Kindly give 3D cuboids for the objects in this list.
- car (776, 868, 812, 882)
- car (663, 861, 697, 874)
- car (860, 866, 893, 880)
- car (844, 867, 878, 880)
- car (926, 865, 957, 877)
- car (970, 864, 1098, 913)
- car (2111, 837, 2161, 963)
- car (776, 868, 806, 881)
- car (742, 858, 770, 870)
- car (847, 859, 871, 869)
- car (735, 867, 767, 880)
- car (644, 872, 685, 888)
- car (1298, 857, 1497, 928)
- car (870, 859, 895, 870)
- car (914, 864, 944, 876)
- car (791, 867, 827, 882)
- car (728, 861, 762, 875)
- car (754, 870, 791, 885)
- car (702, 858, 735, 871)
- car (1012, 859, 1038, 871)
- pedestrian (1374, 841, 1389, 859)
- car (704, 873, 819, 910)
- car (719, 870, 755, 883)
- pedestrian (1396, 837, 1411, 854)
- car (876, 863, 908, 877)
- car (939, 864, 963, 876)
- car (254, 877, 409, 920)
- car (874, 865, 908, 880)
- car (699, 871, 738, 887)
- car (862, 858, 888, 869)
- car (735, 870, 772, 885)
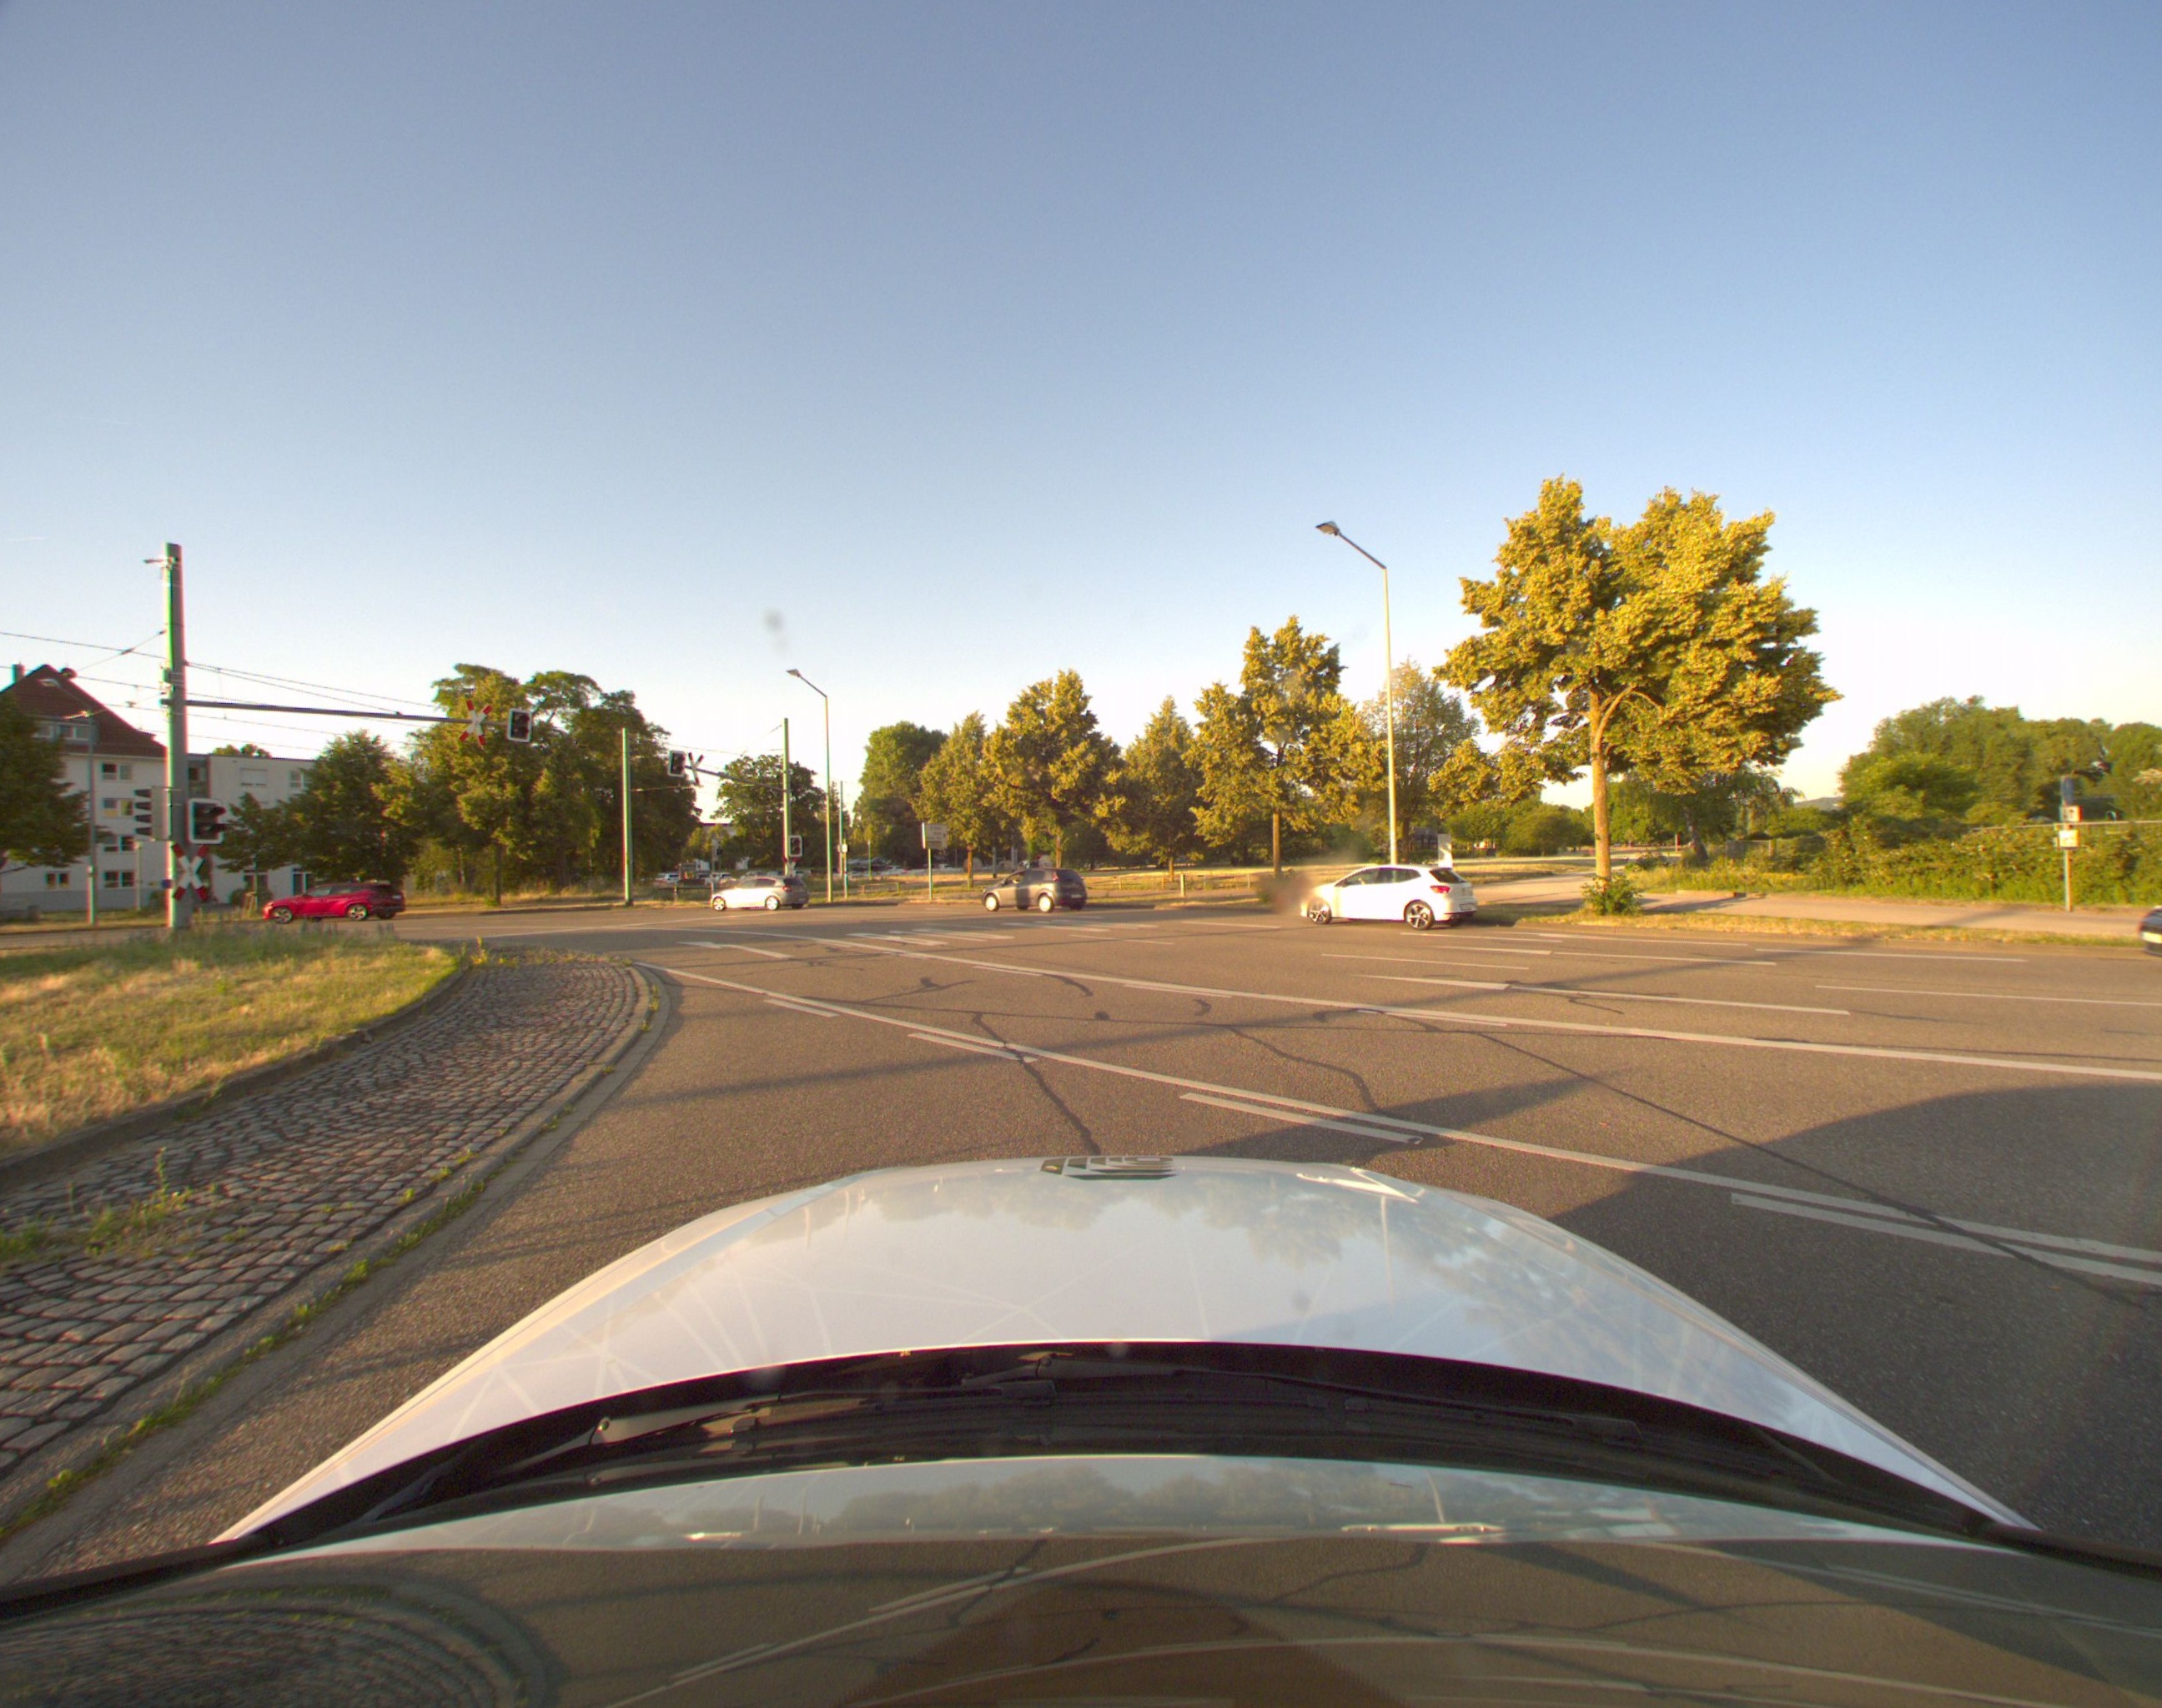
[{"bbox_3d":[-33.683,2.448,95.444,3.948,1.604,2.013,-2,0,34],"label":"car"},{"bbox_3d":[-65.643,2.234,133.341,1.974,2.013,4.627,-2,0,32],"label":"car"},{"bbox_3d":[-26.653,2.482,106.000,3.948,1.604,2.013,-2,0,34],"label":"car"},{"bbox_3d":[-28.111,2.476,103.917,3.948,1.604,2.013,-2,0,34],"label":"car"},{"bbox_3d":[-19.973,2.370,116.494,3.948,1.604,2.013,-2,0,34],"label":"car"},{"bbox_3d":[-1.640,1.136,27.602,4.109,1.454,1.880,-2,0,41],"label":"car"},{"bbox_3d":[15.514,0.542,9.376,4.126,1.583,1.928,-2,0,34],"label":"car"},{"bbox_3d":[-41.281,2.882,116.010,4.001,1.662,1.889,-2,0,-20],"label":"car"},{"bbox_3d":[-57.816,1.804,144.950,1.974,2.013,4.143,-2,0,36],"label":"car"},{"bbox_3d":[-41.726,1.886,153.037,1.974,1.816,4.026,-2,0,37],"label":"car"},{"bbox_3d":[-46.210,2.784,113.959,4.005,1.662,1.984,-2,0,-24],"label":"car"},{"bbox_3d":[-42.637,2.677,83.339,3.948,1.604,2.013,-2,0,34],"label":"car"},{"bbox_3d":[7.302,0.847,19.078,1.877,1.454,3.925,-1,-1,-39],"label":"car"},{"bbox_3d":[-35.661,1.886,146.451,3.964,1.706,2.005,-2,0,8],"label":"car"},{"bbox_3d":[-21.449,2.314,114.800,3.948,1.604,2.013,-2,0,34],"label":"car"},{"bbox_3d":[-32.618,2.458,97.624,3.948,1.604,2.013,-2,0,34],"label":"car"},{"bbox_3d":[-51.863,2.122,125.819,1.974,2.013,4.627,-2,0,32],"label":"car"},{"bbox_3d":[-35.491,2.708,93.685,3.948,1.604,2.013,-2,0,34],"label":"car"},{"bbox_3d":[-61.904,1.789,139.080,1.974,2.013,4.628,-2,0,36],"label":"car"},{"bbox_3d":[-7.936,1.521,115.274,1.748,1.618,3.954,-1,0,-39],"label":"car"},{"bbox_3d":[28.974,-0.381,78.509,1.064,1.617,0.911,-2,0,4],"label":"pedestrian"},{"bbox_3d":[-13.185,1.537,33.648,4.116,1.390,1.876,-2,0,17],"label":"car"},{"bbox_3d":[-46.096,3.014,109.160,1.878,1.662,4.026,-2,0,37],"label":"car"},{"bbox_3d":[30.987,-0.782,78.287,1.064,1.617,0.911,-2,0,4],"label":"pedestrian"},{"bbox_3d":[-29.358,2.413,126.713,4.578,2.013,1.995,-2,0,-7],"label":"car"},{"bbox_3d":[-20.820,2.526,130.001,2.008,1.752,4.549,-1,1,-35],"label":"car"},{"bbox_3d":[-31.614,1.860,34.484,4.398,1.573,1.994,-2,0,-8],"label":"car"},{"bbox_3d":[-27.632,2.682,118.526,4.578,2.013,1.995,-2,0,-7],"label":"car"},{"bbox_3d":[-39.005,2.684,87.556,3.948,1.604,2.013,-2,0,34],"label":"car"},{"bbox_3d":[-37.937,1.776,150.058,1.975,2.013,4.025,-2,0,42],"label":"car"},{"bbox_3d":[-37.035,2.706,92.076,3.948,1.604,2.013,-2,0,34],"label":"car"}]
